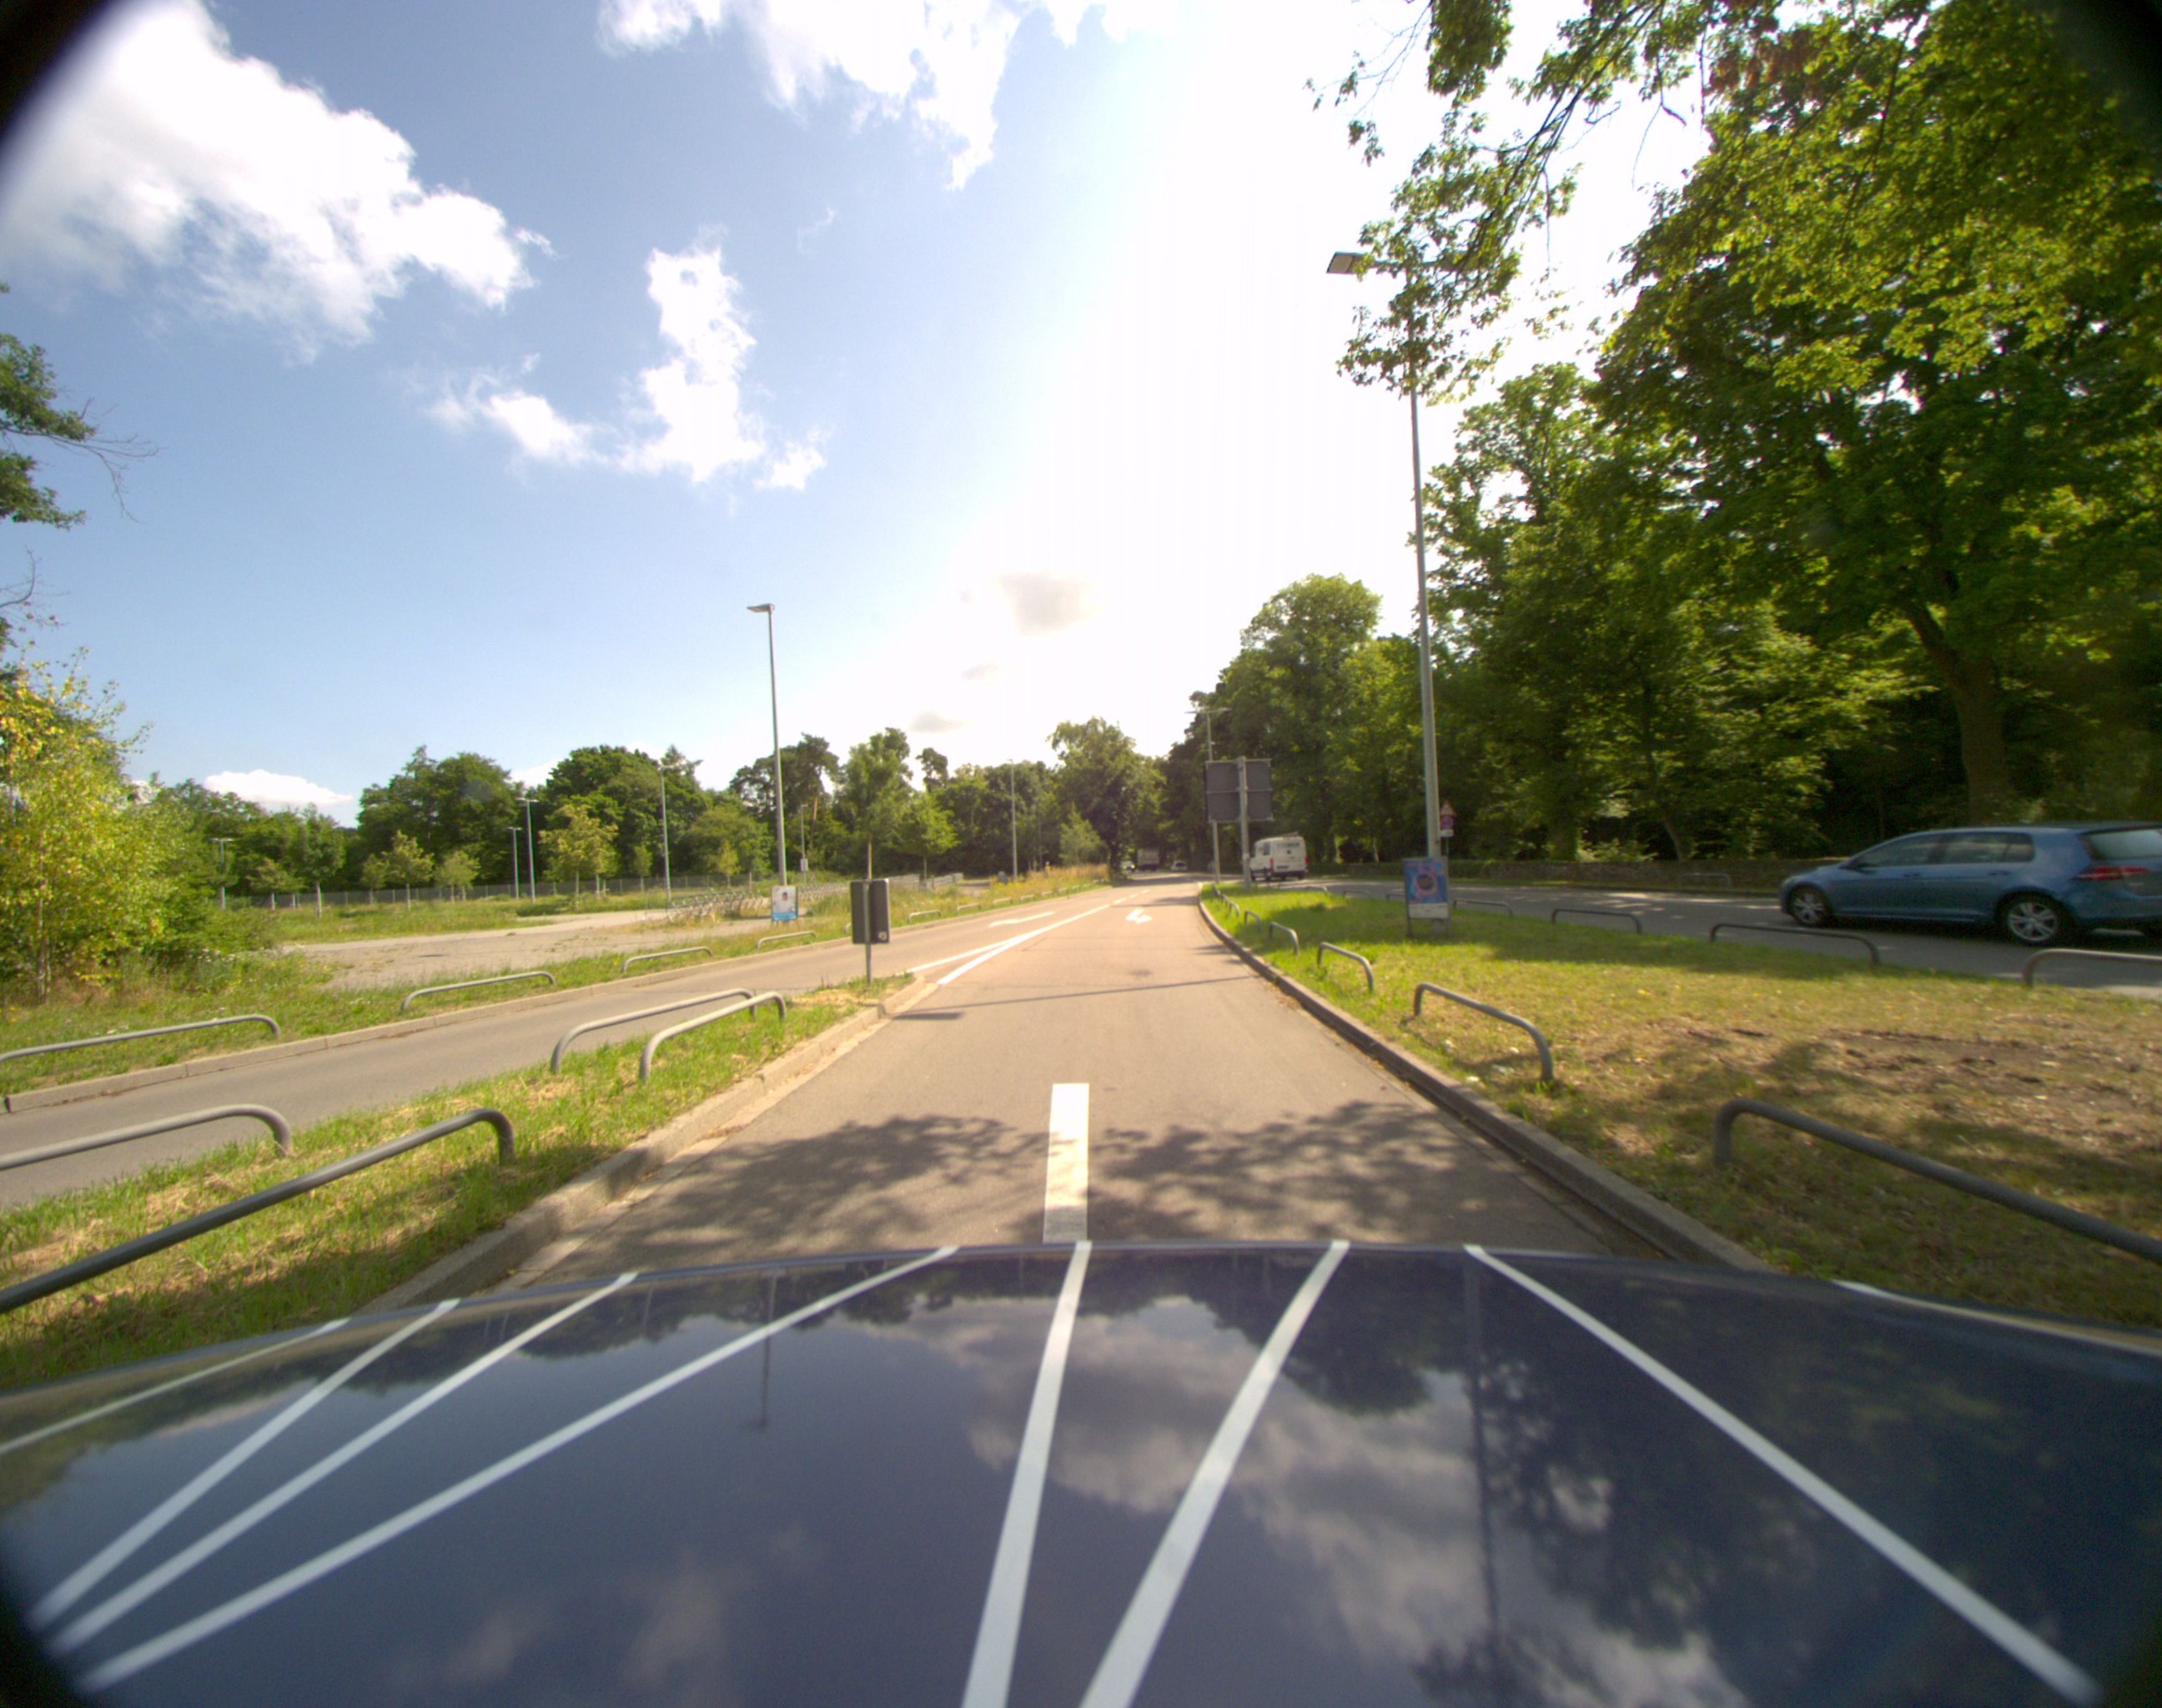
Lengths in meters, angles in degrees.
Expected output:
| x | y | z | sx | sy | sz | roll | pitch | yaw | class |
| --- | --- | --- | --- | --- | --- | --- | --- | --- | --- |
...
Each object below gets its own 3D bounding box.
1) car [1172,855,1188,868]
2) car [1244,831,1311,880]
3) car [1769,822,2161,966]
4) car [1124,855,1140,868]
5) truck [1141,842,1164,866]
| x | y | z | sx | sy | sz | roll | pitch | yaw | class |
| --- | --- | --- | --- | --- | --- | --- | --- | --- | --- |
| 12.298 | 0.973 | 94.298 | 1.655 | 1.461 | 3.871 | -2 | 1 | 3 | car |
| 10.821 | 0.078 | 42.237 | 1.980 | 2.417 | 5.361 | -4 | 1 | -2 | car |
| 11.848 | 0.393 | 10.059 | 1.699 | 1.438 | 4.066 | -4 | 1 | -1 | car |
| 7.850 | 1.110 | 117.400 | 1.980 | 1.754 | 4.706 | -3 | 1 | 0 | car |
| 11.328 | 0.021 | 121.346 | 2.914 | 3.609 | 7.004 | -2 | 1 | 1 | truck |
